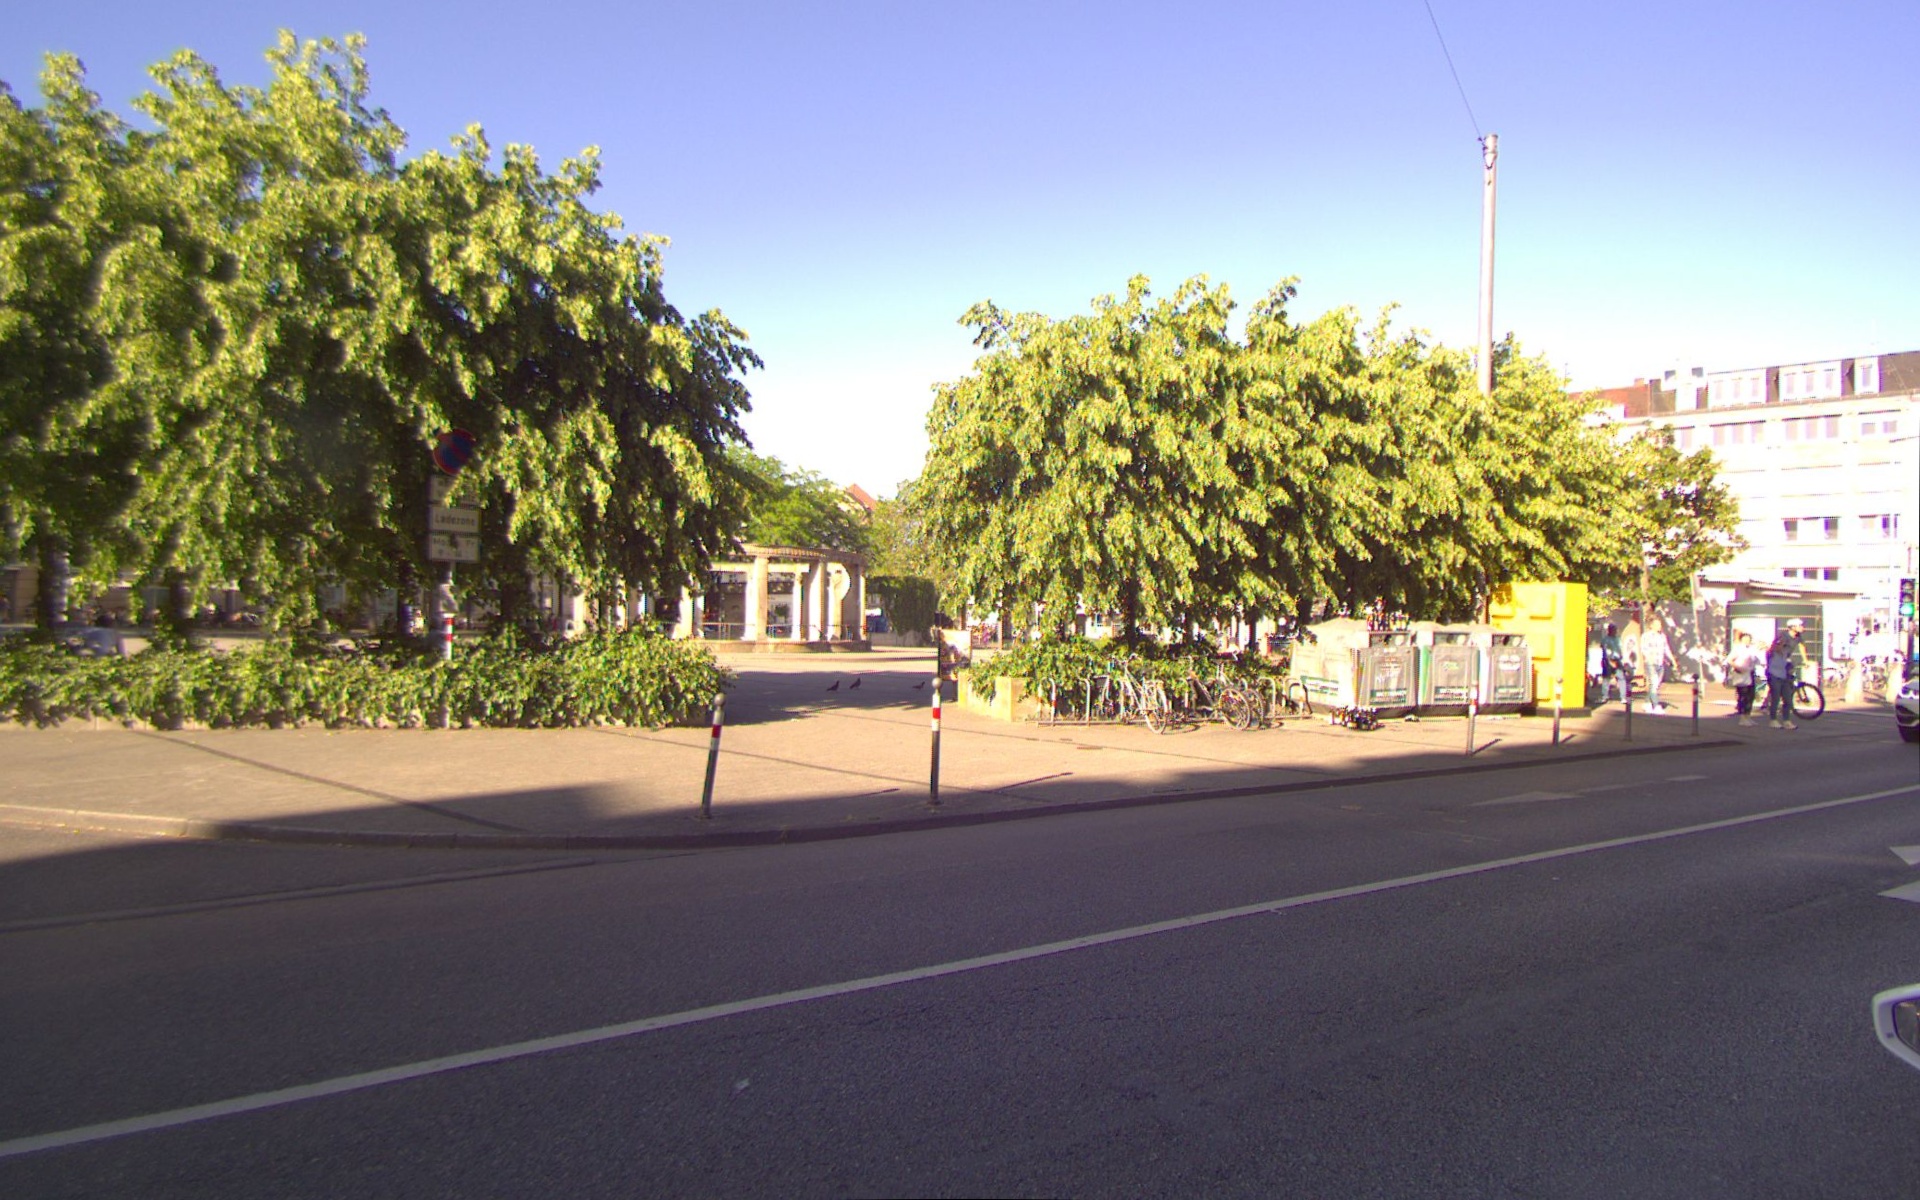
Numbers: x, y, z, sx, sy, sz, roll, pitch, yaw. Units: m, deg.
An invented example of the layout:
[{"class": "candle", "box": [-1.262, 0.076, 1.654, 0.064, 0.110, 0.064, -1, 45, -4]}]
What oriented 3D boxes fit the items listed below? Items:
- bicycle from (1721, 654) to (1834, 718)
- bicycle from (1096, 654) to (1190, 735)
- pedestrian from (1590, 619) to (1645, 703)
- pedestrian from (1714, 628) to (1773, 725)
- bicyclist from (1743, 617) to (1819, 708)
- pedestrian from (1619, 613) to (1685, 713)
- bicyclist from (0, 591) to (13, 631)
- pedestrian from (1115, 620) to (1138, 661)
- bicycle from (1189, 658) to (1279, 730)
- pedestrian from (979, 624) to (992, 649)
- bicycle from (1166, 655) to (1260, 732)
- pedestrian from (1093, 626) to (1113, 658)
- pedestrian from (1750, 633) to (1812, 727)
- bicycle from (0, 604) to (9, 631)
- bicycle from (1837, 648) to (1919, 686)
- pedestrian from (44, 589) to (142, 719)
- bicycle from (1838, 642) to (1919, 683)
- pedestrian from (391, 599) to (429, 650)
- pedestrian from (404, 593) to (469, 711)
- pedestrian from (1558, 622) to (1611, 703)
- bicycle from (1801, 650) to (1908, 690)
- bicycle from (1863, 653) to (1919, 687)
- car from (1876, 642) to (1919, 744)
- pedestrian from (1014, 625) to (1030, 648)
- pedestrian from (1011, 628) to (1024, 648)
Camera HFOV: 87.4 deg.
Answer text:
[{"class": "bicycle", "box": [17.297, 1.794, 21.320, 0.528, 1.154, 2.065, 1, 0, -6]}, {"class": "bicycle", "box": [2.637, 1.345, 14.632, 0.425, 1.031, 1.590, 2, 0, -28]}, {"class": "pedestrian", "box": [14.943, 1.373, 22.846, 0.727, 1.851, 0.847, 1, -1, 4]}, {"class": "pedestrian", "box": [14.595, 1.412, 18.720, 0.661, 1.751, 0.549, 1, -1, 3]}, {"class": "bicyclist", "box": [17.331, 1.303, 21.226, 0.773, 1.862, 0.952, 1, 0, -5]}, {"class": "pedestrian", "box": [14.195, 1.283, 20.614, 0.699, 1.981, 0.828, 2, 0, -18]}, {"class": "bicyclist", "box": [-35.229, 0.384, 36.843, 0.668, 1.447, 0.690, 2, -1, -42]}, {"class": "pedestrian", "box": [8.562, 2.069, 51.719, 0.913, 2.040, 1.185, 1, -1, 0]}, {"class": "bicycle", "box": [4.203, 1.424, 15.522, 0.425, 0.971, 1.518, 0, 0, -28]}, {"class": "pedestrian", "box": [2.245, 3.167, 87.396, 0.886, 2.041, 1.286, 0, 2, 11]}, {"class": "bicycle", "box": [3.805, 1.386, 15.216, 0.425, 1.036, 1.561, 2, -1, -28]}, {"class": "pedestrian", "box": [9.480, 2.773, 66.525, 0.804, 2.040, 1.047, 2, -1, -31]}, {"class": "pedestrian", "box": [15.261, 1.471, 18.682, 0.608, 1.684, 0.685, 1, -1, 6]}, {"class": "bicycle", "box": [-35.268, 0.622, 36.764, 0.585, 0.966, 1.883, 2, -1, -42]}, {"class": "bicycle", "box": [31.521, 2.272, 34.142, 0.833, 1.171, 2.449, 2, -1, -31]}, {"class": "pedestrian", "box": [-12.329, 0.755, 14.312, 0.725, 1.781, 0.895, 1, -1, -19]}, {"class": "bicycle", "box": [32.881, 2.189, 35.633, 0.913, 1.341, 2.461, 2, -1, -35]}, {"class": "pedestrian", "box": [-19.366, 0.864, 35.402, 0.723, 1.781, 0.898, 1, -1, 29]}, {"class": "pedestrian", "box": [-8.147, 0.796, 15.664, 0.725, 1.781, 0.895, 1, -1, -19]}, {"class": "pedestrian", "box": [14.200, 1.407, 22.844, 0.640, 1.792, 0.897, 1, -1, 1]}, {"class": "bicycle", "box": [29.306, 2.276, 32.976, 0.833, 1.171, 2.493, 2, -1, -31]}, {"class": "bicycle", "box": [35.150, 2.590, 37.141, 0.834, 1.171, 2.517, 2, -1, -34]}, {"class": "car", "box": [16.981, 1.475, 16.412, 4.261, 1.575, 1.798, 2, -5, -31]}, {"class": "pedestrian", "box": [5.627, 3.322, 91.463, 1.250, 2.040, 1.286, 1, -1, 9]}, {"class": "pedestrian", "box": [5.923, 3.877, 103.452, 1.252, 2.040, 1.284, 1, 0, -4]}]
